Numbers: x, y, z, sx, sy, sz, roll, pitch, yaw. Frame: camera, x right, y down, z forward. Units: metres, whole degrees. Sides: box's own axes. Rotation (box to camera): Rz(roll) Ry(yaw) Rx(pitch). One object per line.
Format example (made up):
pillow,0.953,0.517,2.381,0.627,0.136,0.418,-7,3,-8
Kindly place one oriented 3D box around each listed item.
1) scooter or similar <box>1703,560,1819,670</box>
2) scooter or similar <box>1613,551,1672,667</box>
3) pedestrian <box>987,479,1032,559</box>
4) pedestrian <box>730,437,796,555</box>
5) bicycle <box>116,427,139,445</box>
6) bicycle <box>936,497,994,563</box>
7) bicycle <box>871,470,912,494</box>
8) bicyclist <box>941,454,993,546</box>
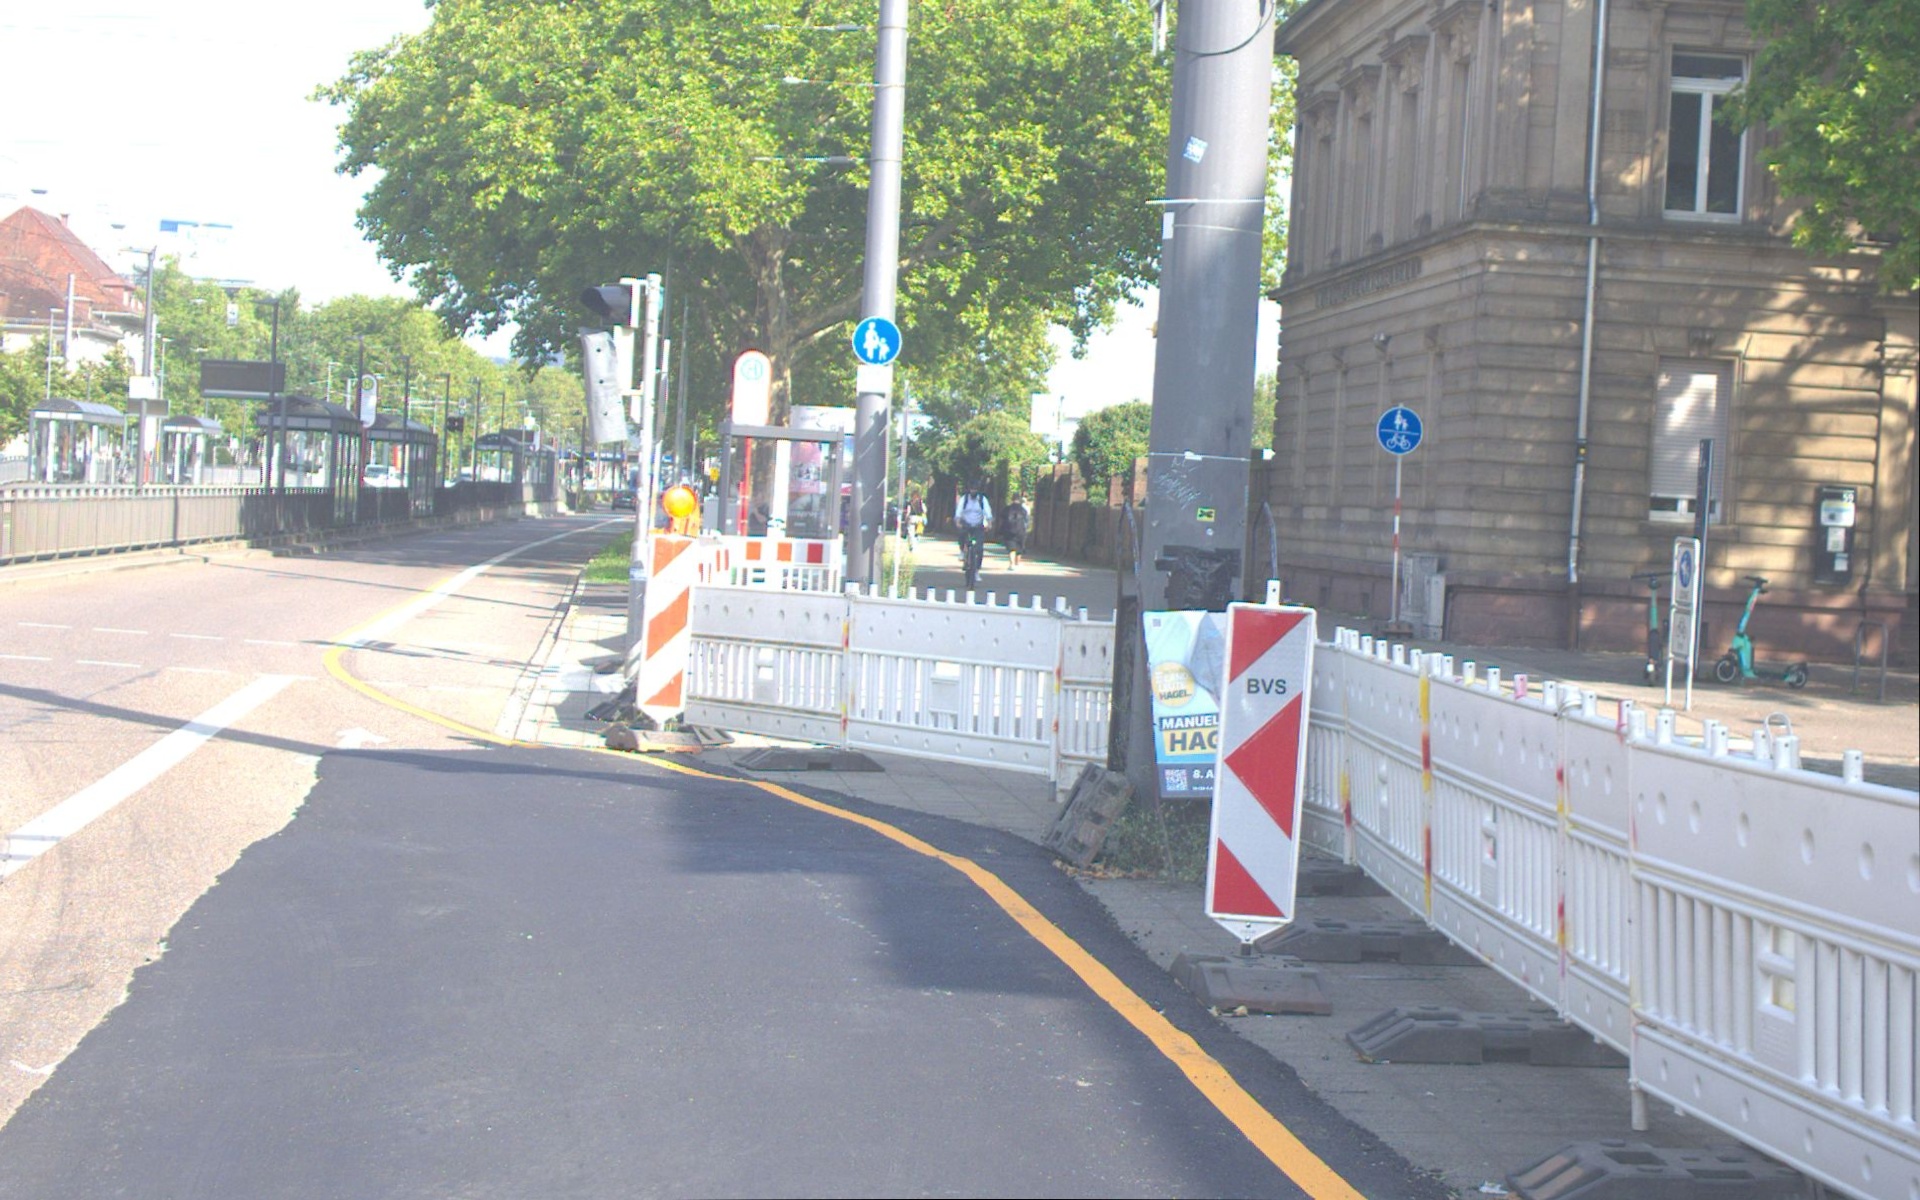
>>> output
scooter or similar,9.067,0.169,38.917,1.251,1.205,0.423,0,5,-29
scooter or similar,7.615,0.090,38.327,0.421,1.205,1.254,4,4,18
pedestrian,1.061,-1.757,74.451,0.819,1.680,1.012,2,2,-4
pedestrian,-2.887,-1.525,50.394,0.687,1.691,0.649,2,2,-25
bicycle,-33.123,-6.533,136.765,0.477,0.660,1.613,3,2,0
bicycle,0.080,-1.218,59.082,0.717,1.038,1.904,3,3,-7
bicycle,-2.866,-4.917,143.533,1.656,0.966,0.506,2,2,2
bicyclist,0.116,-1.724,59.088,0.717,1.537,0.956,3,3,-7
